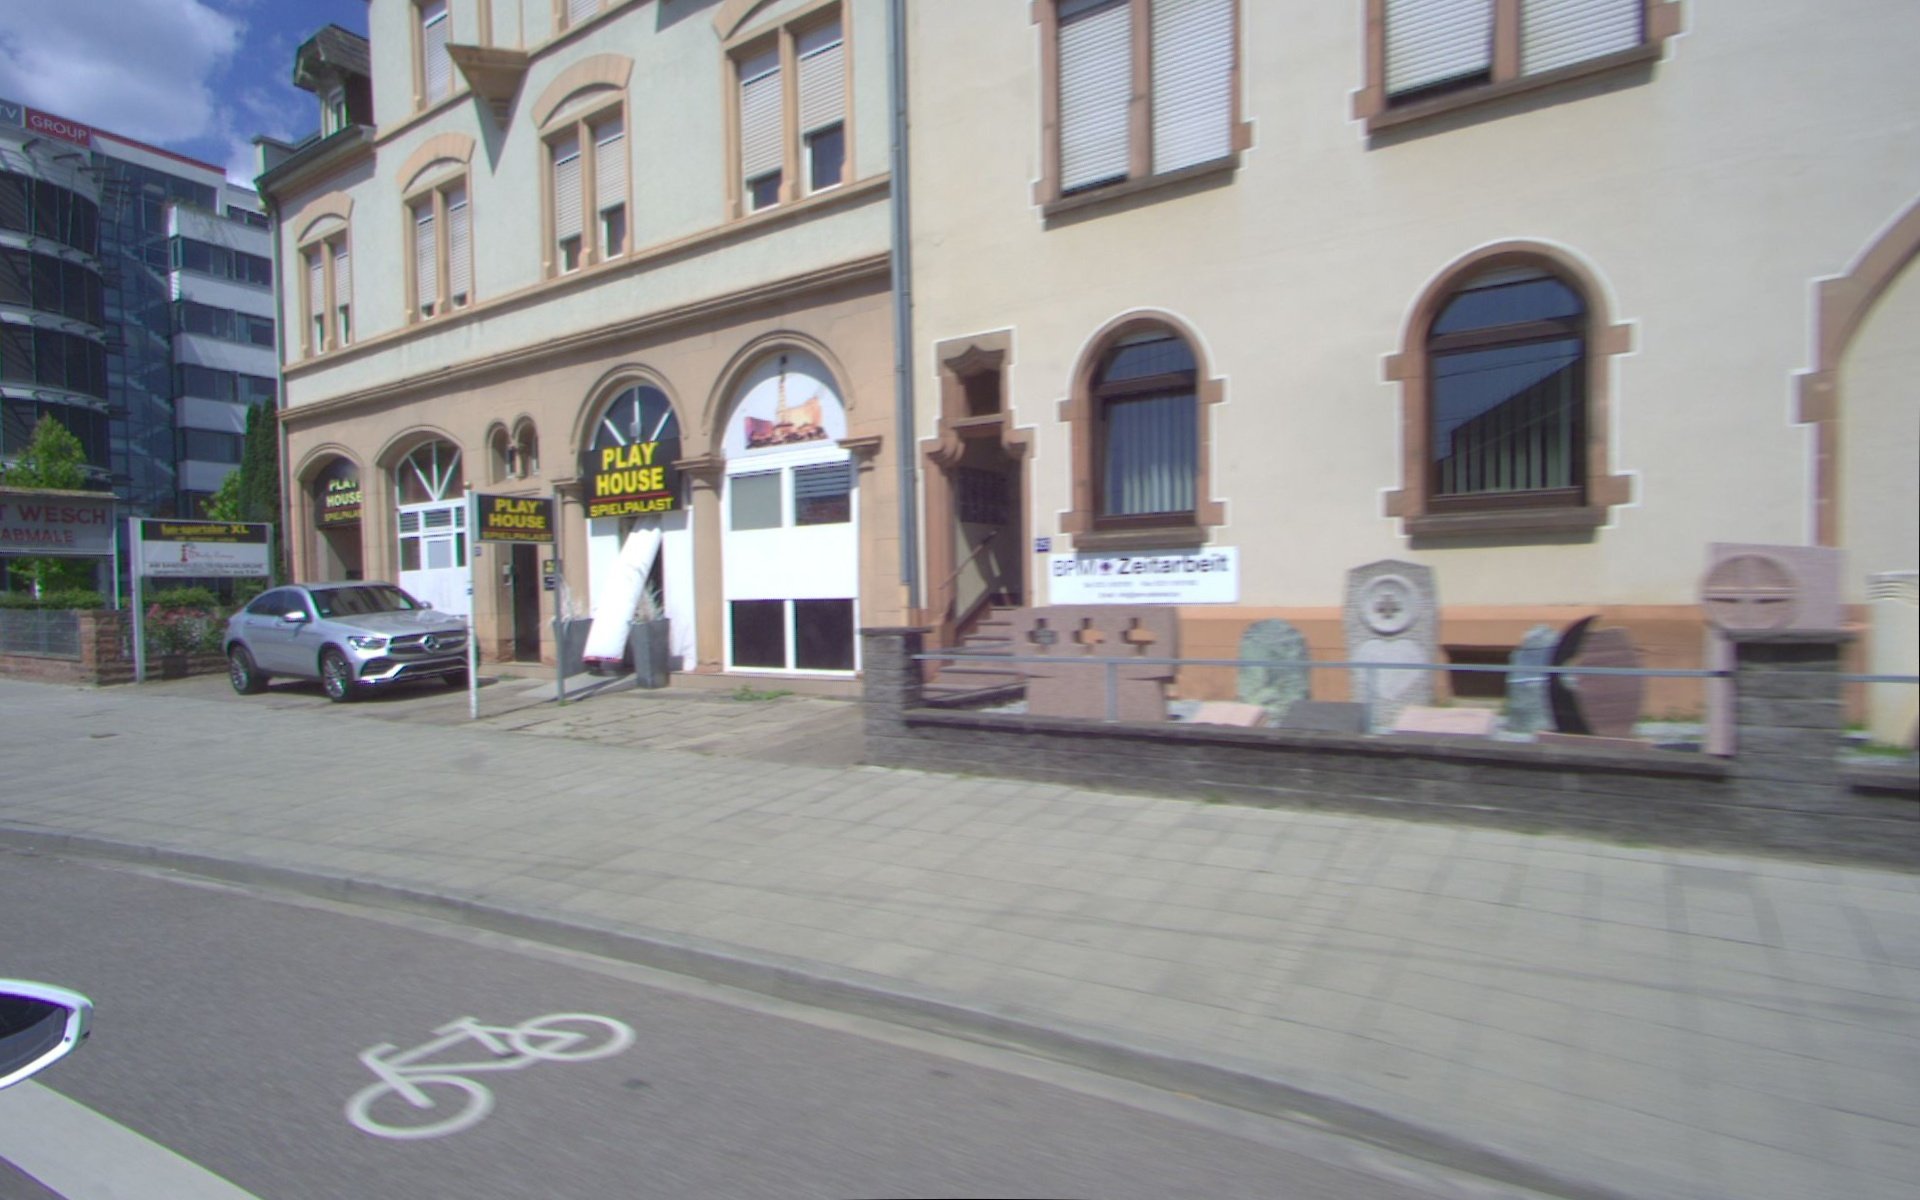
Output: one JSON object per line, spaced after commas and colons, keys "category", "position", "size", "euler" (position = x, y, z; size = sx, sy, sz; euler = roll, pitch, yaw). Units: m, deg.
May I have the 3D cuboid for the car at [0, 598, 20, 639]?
{"category": "car", "position": [-35.560, 0.681, 34.990], "size": [1.732, 1.471, 3.594], "euler": [0, 1, 30]}

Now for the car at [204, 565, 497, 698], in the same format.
{"category": "car", "position": [-9.124, 0.400, 14.875], "size": [4.574, 1.647, 1.872], "euler": [-1, 3, 34]}
